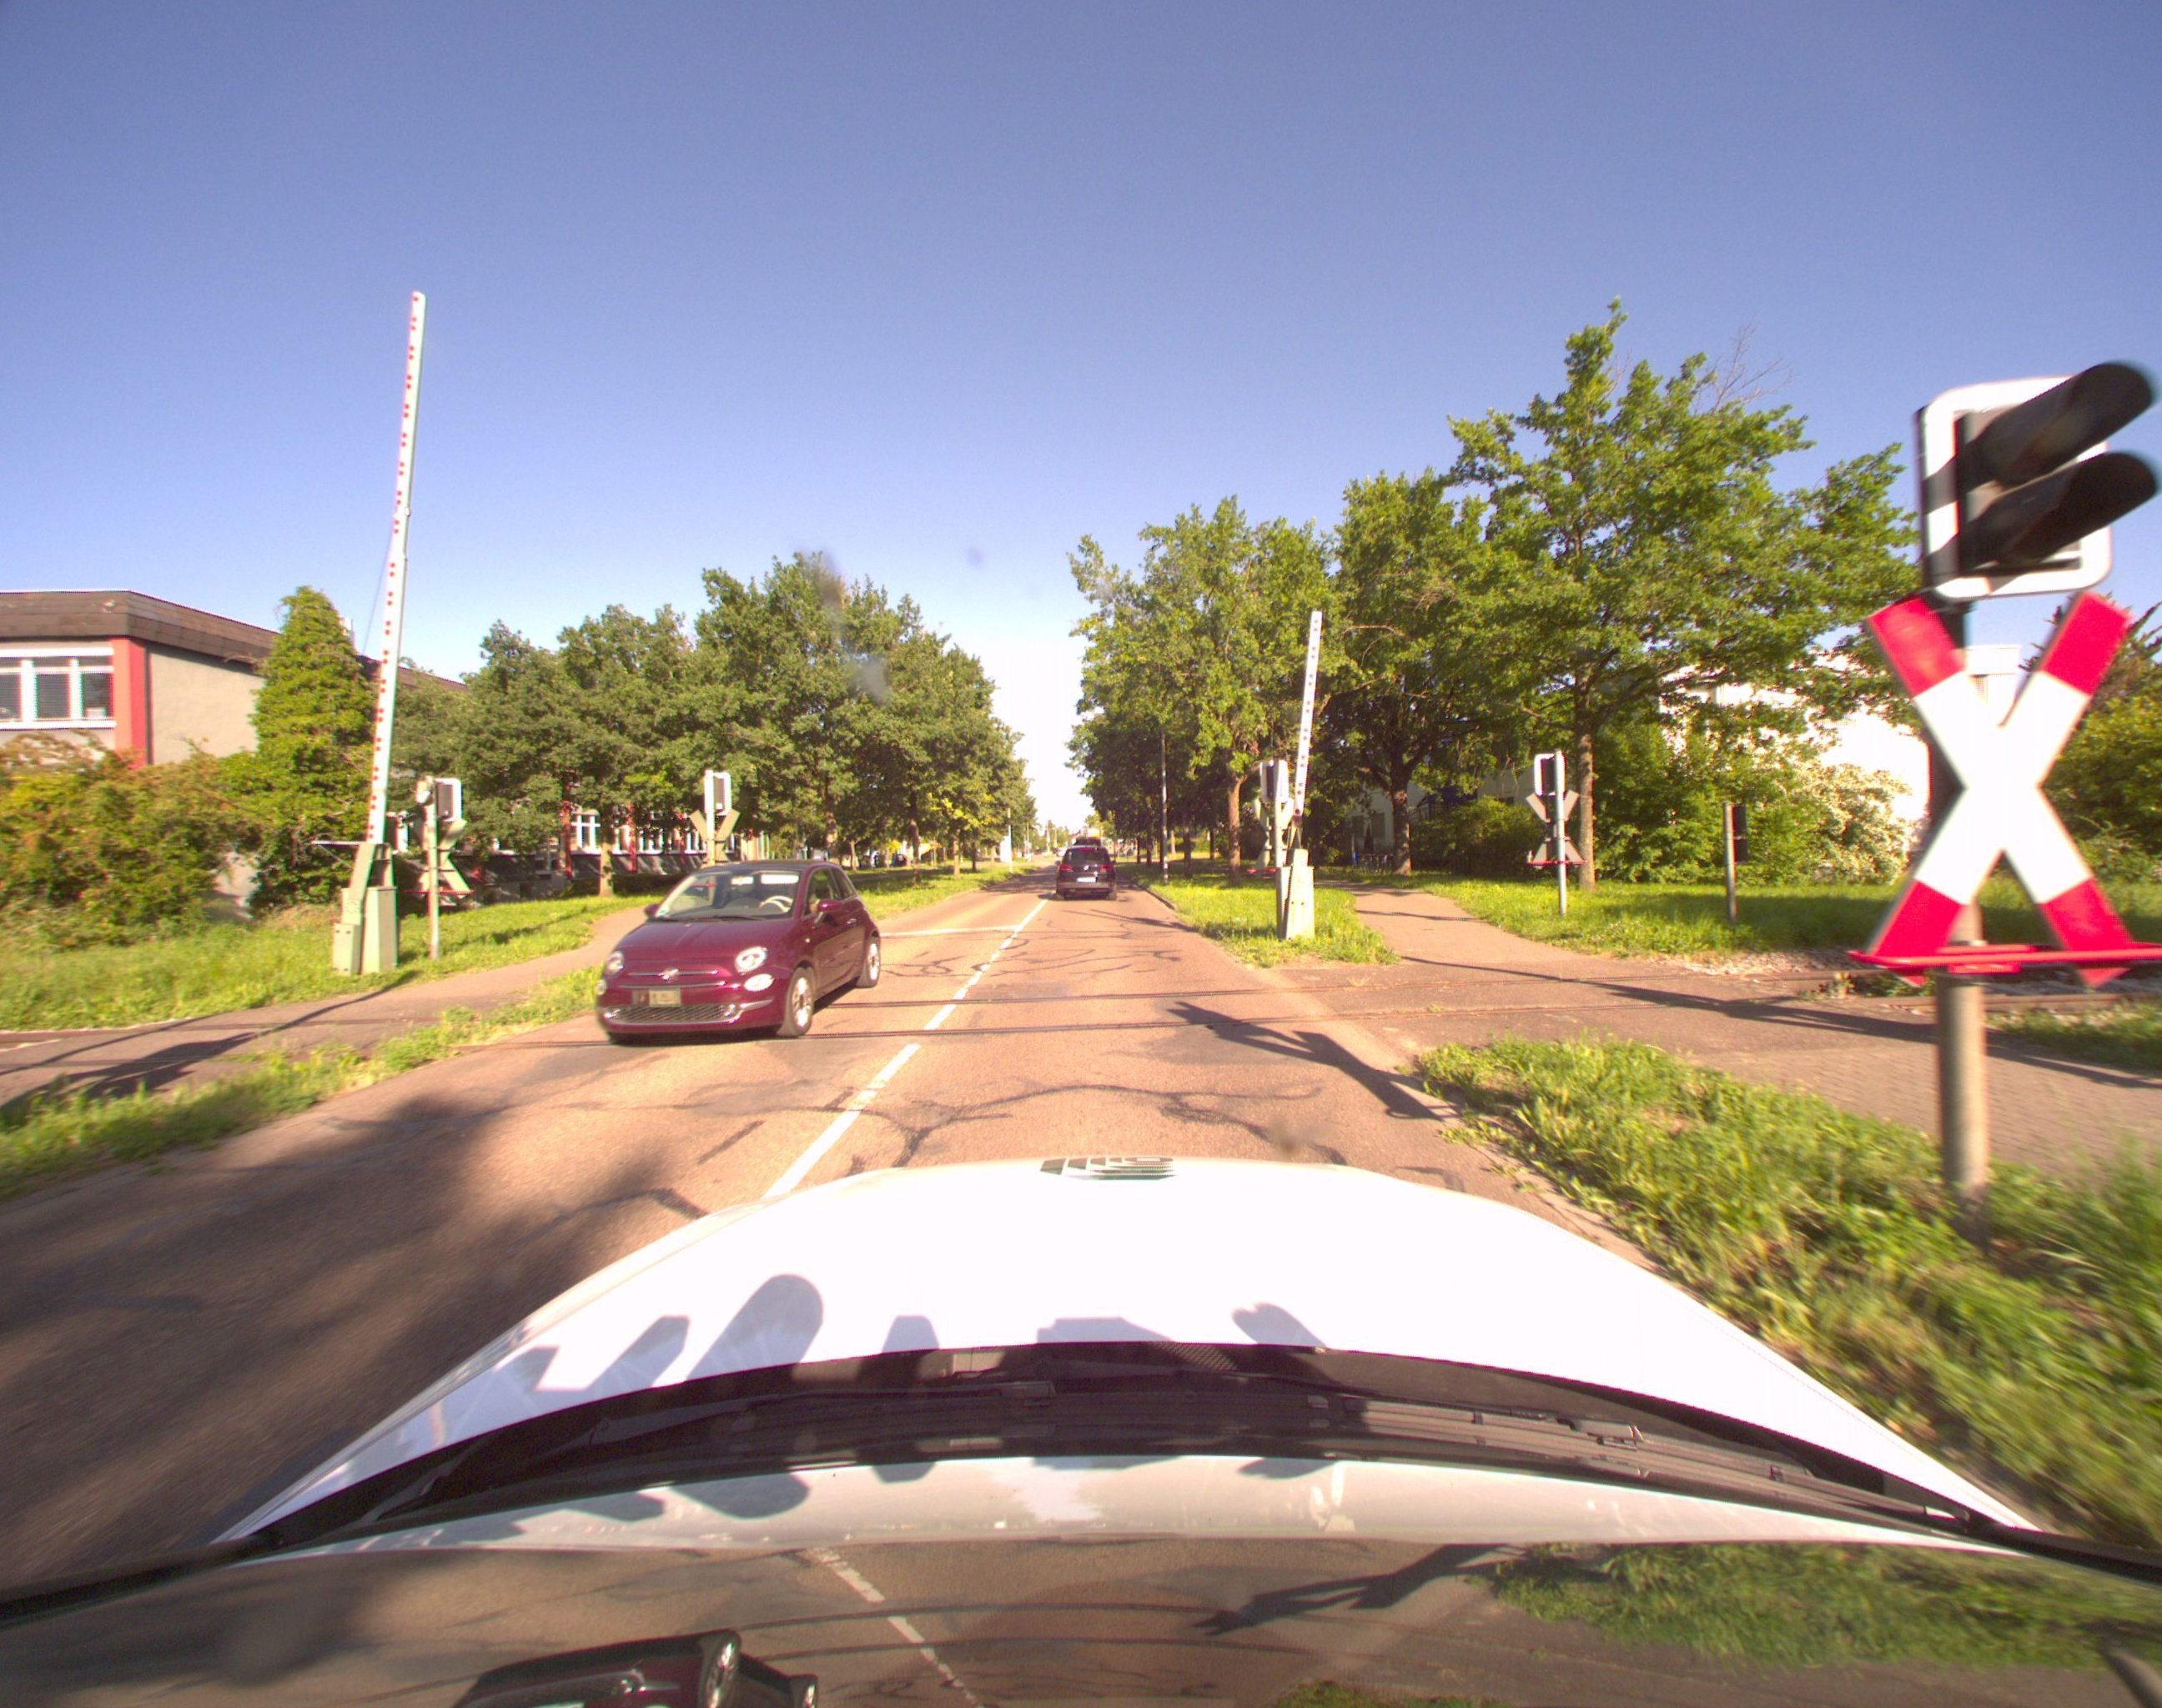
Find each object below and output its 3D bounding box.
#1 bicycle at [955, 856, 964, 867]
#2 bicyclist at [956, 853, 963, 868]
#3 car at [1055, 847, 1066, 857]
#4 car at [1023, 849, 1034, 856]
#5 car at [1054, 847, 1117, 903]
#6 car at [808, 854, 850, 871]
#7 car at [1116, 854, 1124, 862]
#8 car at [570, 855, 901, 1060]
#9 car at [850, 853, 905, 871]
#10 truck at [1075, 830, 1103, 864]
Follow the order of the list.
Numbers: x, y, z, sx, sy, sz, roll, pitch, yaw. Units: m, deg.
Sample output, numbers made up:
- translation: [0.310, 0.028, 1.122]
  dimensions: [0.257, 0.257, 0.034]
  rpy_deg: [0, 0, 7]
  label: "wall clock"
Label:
- translation: [-14.905, 0.858, 99.896]
  dimensions: [0.715, 1.321, 1.991]
  rpy_deg: [0, 0, 0]
  label: "bicycle"
- translation: [-14.888, 0.740, 99.999]
  dimensions: [0.684, 1.831, 0.934]
  rpy_deg: [0, 0, 0]
  label: "bicyclist"
- translation: [-4.369, -0.467, 173.725]
  dimensions: [1.990, 2.013, 3.994]
  rpy_deg: [0, 0, -5]
  label: "car"
- translation: [-10.960, -0.326, 168.904]
  dimensions: [1.987, 1.455, 4.000]
  rpy_deg: [-2, 0, 0]
  label: "car"
- translation: [0.219, 0.594, 25.684]
  dimensions: [1.775, 1.633, 4.003]
  rpy_deg: [0, 0, 3]
  label: "car"
- translation: [-24.530, 0.799, 79.275]
  dimensions: [3.342, 1.642, 2.003]
  rpy_deg: [0, 0, 6]
  label: "car"
- translation: [7.461, 0.731, 154.918]
  dimensions: [1.447, 1.406, 2.857]
  rpy_deg: [0, 0, 2]
  label: "car"
- translation: [-3.106, 0.800, 8.280]
  dimensions: [1.560, 1.504, 4.000]
  rpy_deg: [-2, 0, 1]
  label: "car"
- translation: [-23.052, 0.908, 92.460]
  dimensions: [5.789, 2.013, 1.994]
  rpy_deg: [0, 0, -10]
  label: "car"
- translation: [0.879, -0.687, 82.738]
  dimensions: [2.502, 3.243, 8.158]
  rpy_deg: [-2, 0, 3]
  label: "truck"
